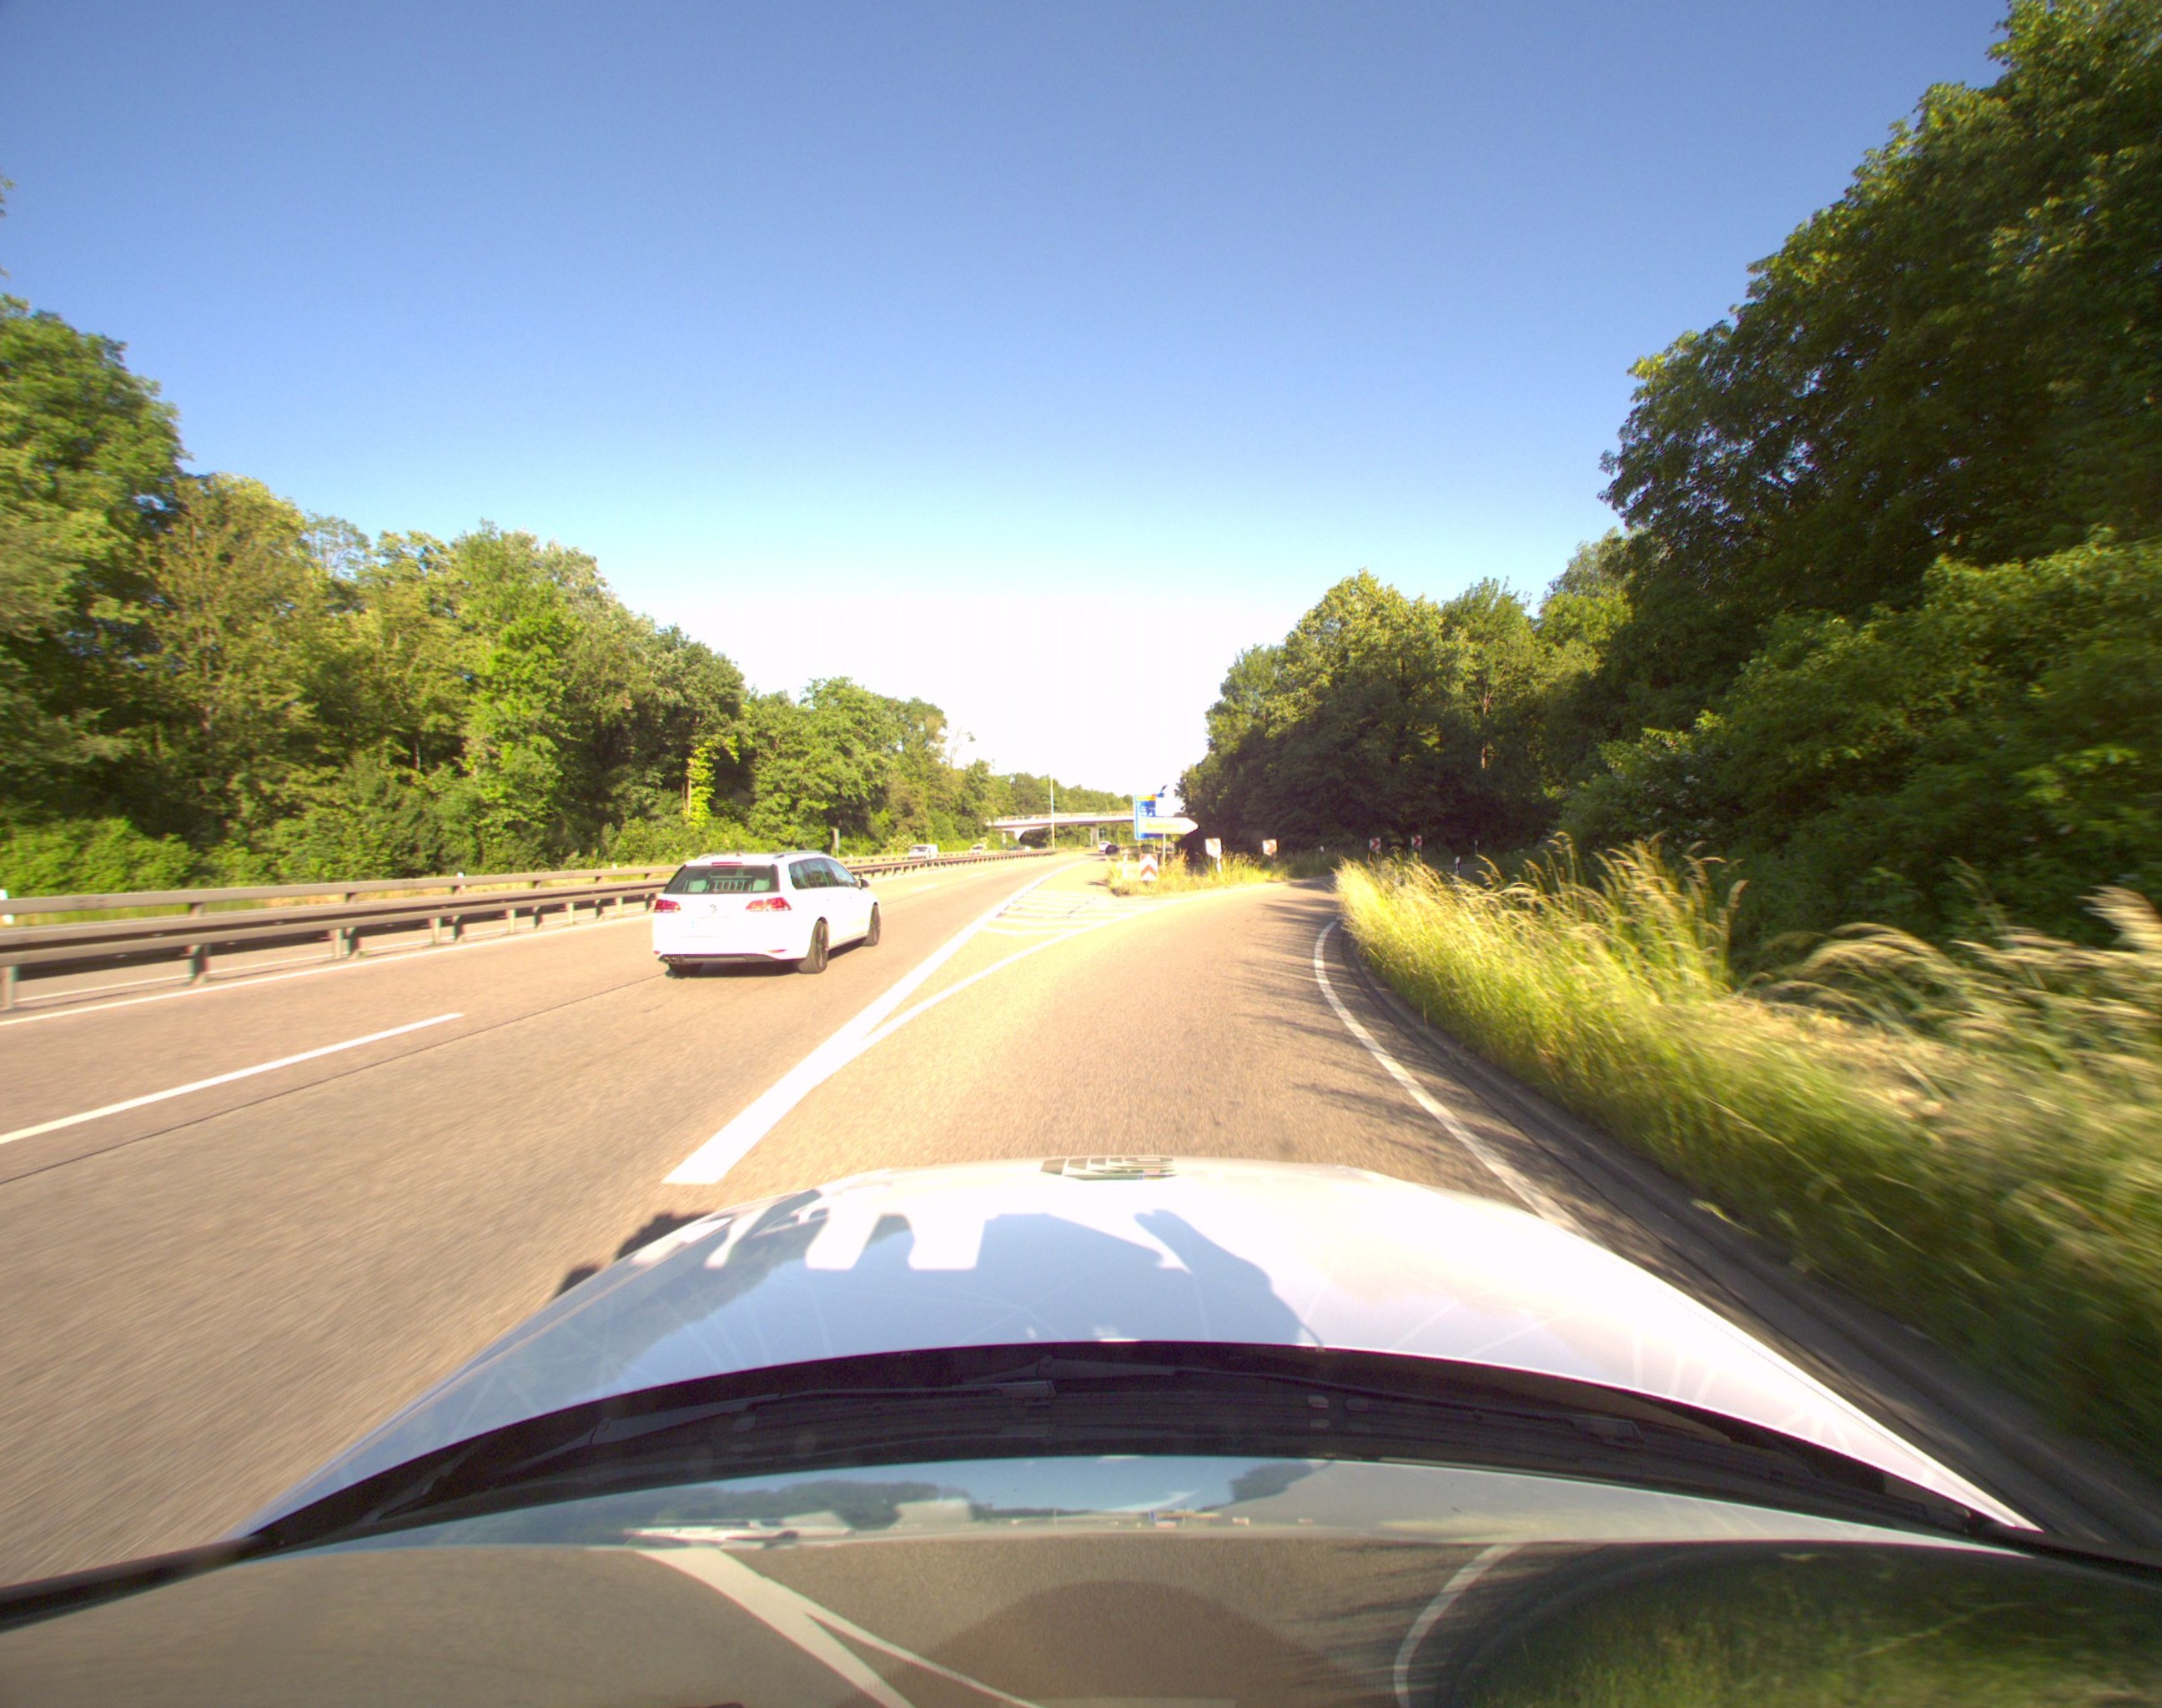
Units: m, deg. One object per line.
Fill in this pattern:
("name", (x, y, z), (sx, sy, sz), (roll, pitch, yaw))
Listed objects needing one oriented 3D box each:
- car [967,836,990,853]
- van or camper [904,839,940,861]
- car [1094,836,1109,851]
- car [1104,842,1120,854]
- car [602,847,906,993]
("car", (-13.055, -1.214, 103.622), (1.984, 2.013, 4.006), (-1, 1, 5))
("van or camper", (-15.698, -0.407, 80.575), (2.063, 2.013, 4.827), (-1, 1, 6))
("car", (3.462, -1.749, 134.275), (1.983, 2.277, 4.009), (-1, 1, 7))
("car", (4.413, -0.819, 115.147), (1.729, 1.662, 3.956), (-1, 1, 9))
("car", (-4.049, 0.671, 11.378), (1.923, 1.508, 5.599), (0, 1, 1))
